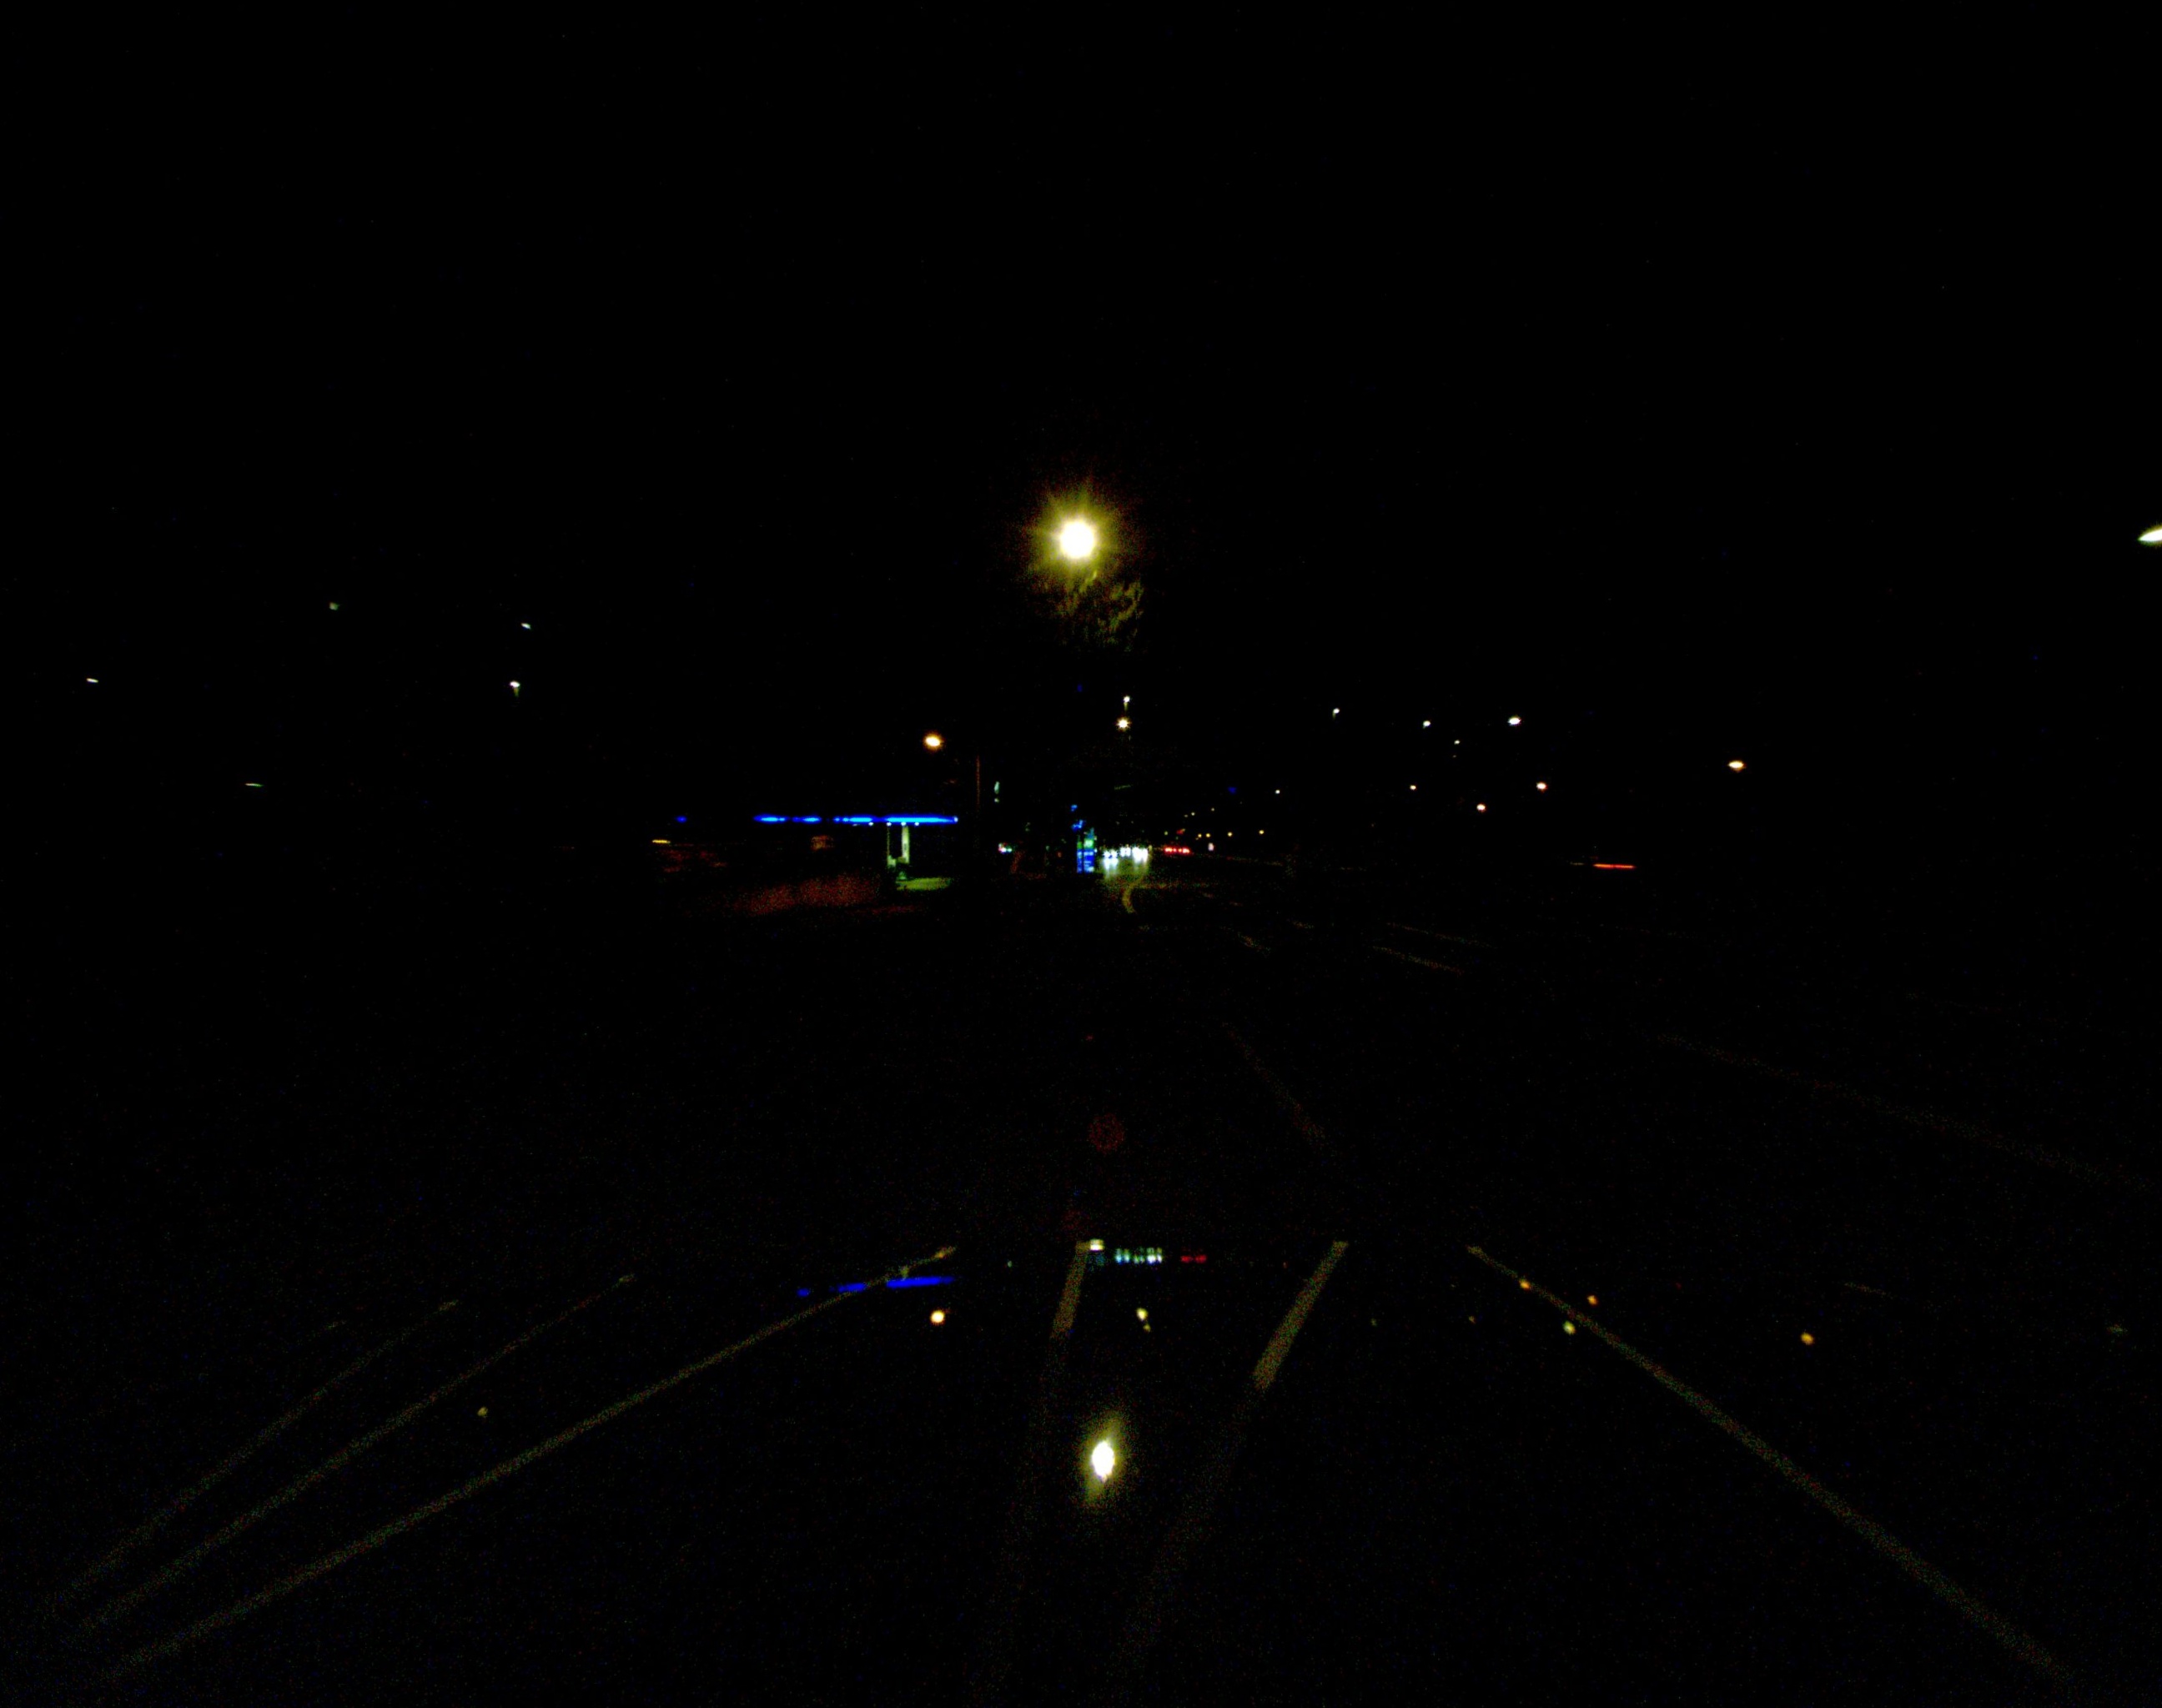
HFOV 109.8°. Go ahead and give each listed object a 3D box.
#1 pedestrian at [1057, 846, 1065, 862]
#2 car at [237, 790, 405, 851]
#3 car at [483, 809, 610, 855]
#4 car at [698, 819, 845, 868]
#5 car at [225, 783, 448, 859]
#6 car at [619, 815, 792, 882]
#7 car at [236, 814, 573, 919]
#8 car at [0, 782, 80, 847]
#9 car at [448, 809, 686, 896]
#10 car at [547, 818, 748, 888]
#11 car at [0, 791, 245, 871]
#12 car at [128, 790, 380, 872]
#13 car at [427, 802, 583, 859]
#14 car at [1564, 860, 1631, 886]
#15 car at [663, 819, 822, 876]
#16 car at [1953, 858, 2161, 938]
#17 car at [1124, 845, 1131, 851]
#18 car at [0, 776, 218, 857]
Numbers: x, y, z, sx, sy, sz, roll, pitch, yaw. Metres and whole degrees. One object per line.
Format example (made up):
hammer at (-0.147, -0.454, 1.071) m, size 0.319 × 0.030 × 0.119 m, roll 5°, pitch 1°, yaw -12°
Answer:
pedestrian at (-2.470, -0.009, 93.954) m, size 0.806 × 1.902 × 0.794 m, roll 2°, pitch 2°, yaw 11°
car at (-25.472, -1.093, 25.567) m, size 3.819 × 1.885 × 1.751 m, roll 1°, pitch 2°, yaw -2°
car at (-19.885, -0.834, 28.360) m, size 3.648 × 1.462 × 1.637 m, roll 3°, pitch 2°, yaw 5°
car at (-10.199, -0.374, 25.270) m, size 4.129 × 1.514 × 1.822 m, roll 1°, pitch 3°, yaw 2°
car at (-19.753, -0.880, 20.260) m, size 4.369 × 1.715 × 1.751 m, roll 3°, pitch 2°, yaw 3°
car at (-10.031, -0.178, 20.487) m, size 3.756 × 1.578 × 1.779 m, roll 2°, pitch 2°, yaw 0°
car at (-10.779, 0.171, 12.530) m, size 3.850 × 1.482 × 1.735 m, roll 1°, pitch 3°, yaw -30°
car at (-34.838, -1.239, 22.888) m, size 5.250 × 1.959 × 2.183 m, roll 0°, pitch 1°, yaw -38°
car at (-10.200, -0.047, 15.298) m, size 3.572 × 1.561 × 1.725 m, roll 2°, pitch 2°, yaw -3°
car at (-10.127, -0.053, 17.955) m, size 3.734 × 1.481 × 1.741 m, roll 1°, pitch 2°, yaw -1°
car at (-19.838, -0.491, 15.348) m, size 3.882 × 1.425 × 1.767 m, roll 2°, pitch 2°, yaw -1°
car at (-19.292, -0.541, 17.853) m, size 3.996 × 1.680 × 1.819 m, roll 2°, pitch 2°, yaw 2°
car at (-19.579, -0.814, 25.926) m, size 3.995 × 1.721 × 1.837 m, roll 3°, pitch 2°, yaw 4°
car at (29.138, 1.033, 42.968) m, size 1.531 × 1.262 × 3.390 m, roll -2°, pitch 2°, yaw 2°
car at (-10.138, -0.220, 22.925) m, size 3.996 × 1.562 × 1.738 m, roll 2°, pitch 2°, yaw 2°
car at (24.955, 0.996, 18.952) m, size 1.805 × 1.685 × 4.000 m, roll -2°, pitch 1°, yaw 1°
car at (13.035, -1.667, 213.247) m, size 1.991 × 1.473 × 4.203 m, roll 1°, pitch 1°, yaw 2°
car at (-25.453, -0.947, 19.318) m, size 4.588 × 1.899 × 1.999 m, roll 1°, pitch 2°, yaw -2°
